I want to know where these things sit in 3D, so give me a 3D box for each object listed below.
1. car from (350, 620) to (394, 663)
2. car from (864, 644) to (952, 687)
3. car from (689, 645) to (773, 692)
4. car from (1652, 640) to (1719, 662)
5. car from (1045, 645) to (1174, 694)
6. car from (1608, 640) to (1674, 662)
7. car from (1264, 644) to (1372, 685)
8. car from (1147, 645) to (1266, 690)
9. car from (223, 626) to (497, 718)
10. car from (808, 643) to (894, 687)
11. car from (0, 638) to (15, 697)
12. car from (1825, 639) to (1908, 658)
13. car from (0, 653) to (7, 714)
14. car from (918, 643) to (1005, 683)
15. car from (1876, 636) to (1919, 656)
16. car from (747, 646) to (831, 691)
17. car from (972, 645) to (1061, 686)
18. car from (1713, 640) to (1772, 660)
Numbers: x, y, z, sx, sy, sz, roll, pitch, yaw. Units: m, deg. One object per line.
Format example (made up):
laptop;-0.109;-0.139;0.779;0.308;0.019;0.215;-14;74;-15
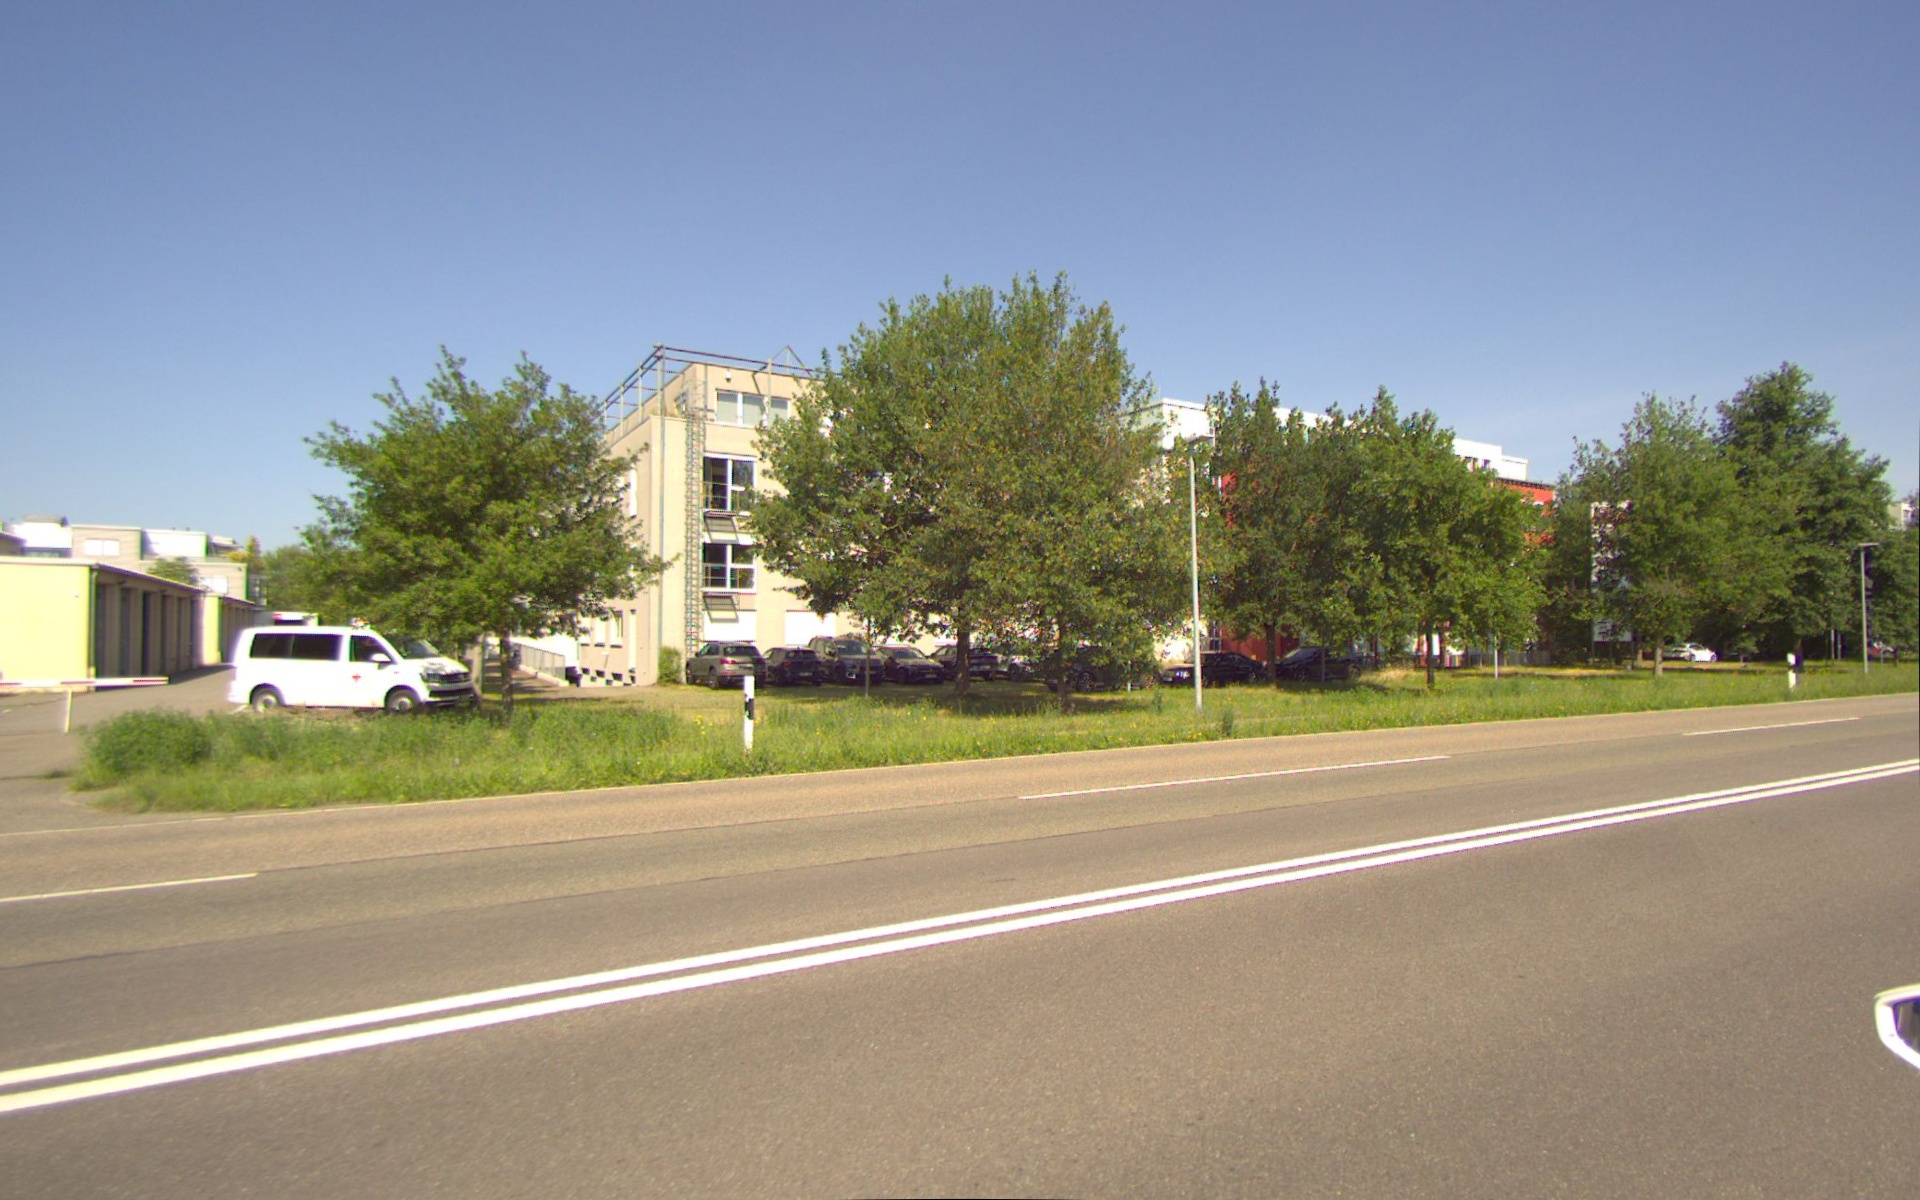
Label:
car;-37.574;2.609;64.228;2.259;2.643;6.547;1;-2;-30
car;-2.134;2.579;40.165;1.866;1.557;3.967;1;-2;-31
car;-8.322;2.418;36.275;1.866;1.557;3.967;1;-2;-31
car;51.136;3.597;70.797;4.894;1.456;1.985;1;-2;-29
car;5.334;2.432;35.741;4.496;1.599;1.735;1;-2;-31
car;49.351;3.676;72.748;4.894;1.456;1.985;1;-2;-29
car;14.811;2.623;41.479;4.496;1.599;1.735;1;-2;-31
car;9.426;2.521;38.295;4.496;1.599;1.735;1;-2;-31
car;-13.426;1.583;22.727;4.916;1.954;2.074;0;-2;0
car;-4.291;2.468;38.961;1.866;1.557;3.967;1;-2;-31
car;-29.587;1.926;28.186;4.121;1.680;1.847;1;-2;-31
car;72.848;3.844;80.799;1.977;1.456;4.573;1;-2;-30
car;-24.051;1.916;22.073;4.145;1.412;1.919;1;-2;-32
car;-0.001;2.589;41.916;1.866;1.557;3.967;1;-2;-31
car;82.868;3.971;87.163;1.977;1.672;4.573;1;-2;-30
car;-6.513;2.529;37.948;1.866;1.557;3.967;1;-2;-31
car;2.324;2.726;42.475;1.866;1.557;3.967;1;-2;-31
car;59.379;3.743;76.216;4.557;1.456;1.984;1;-2;-31
